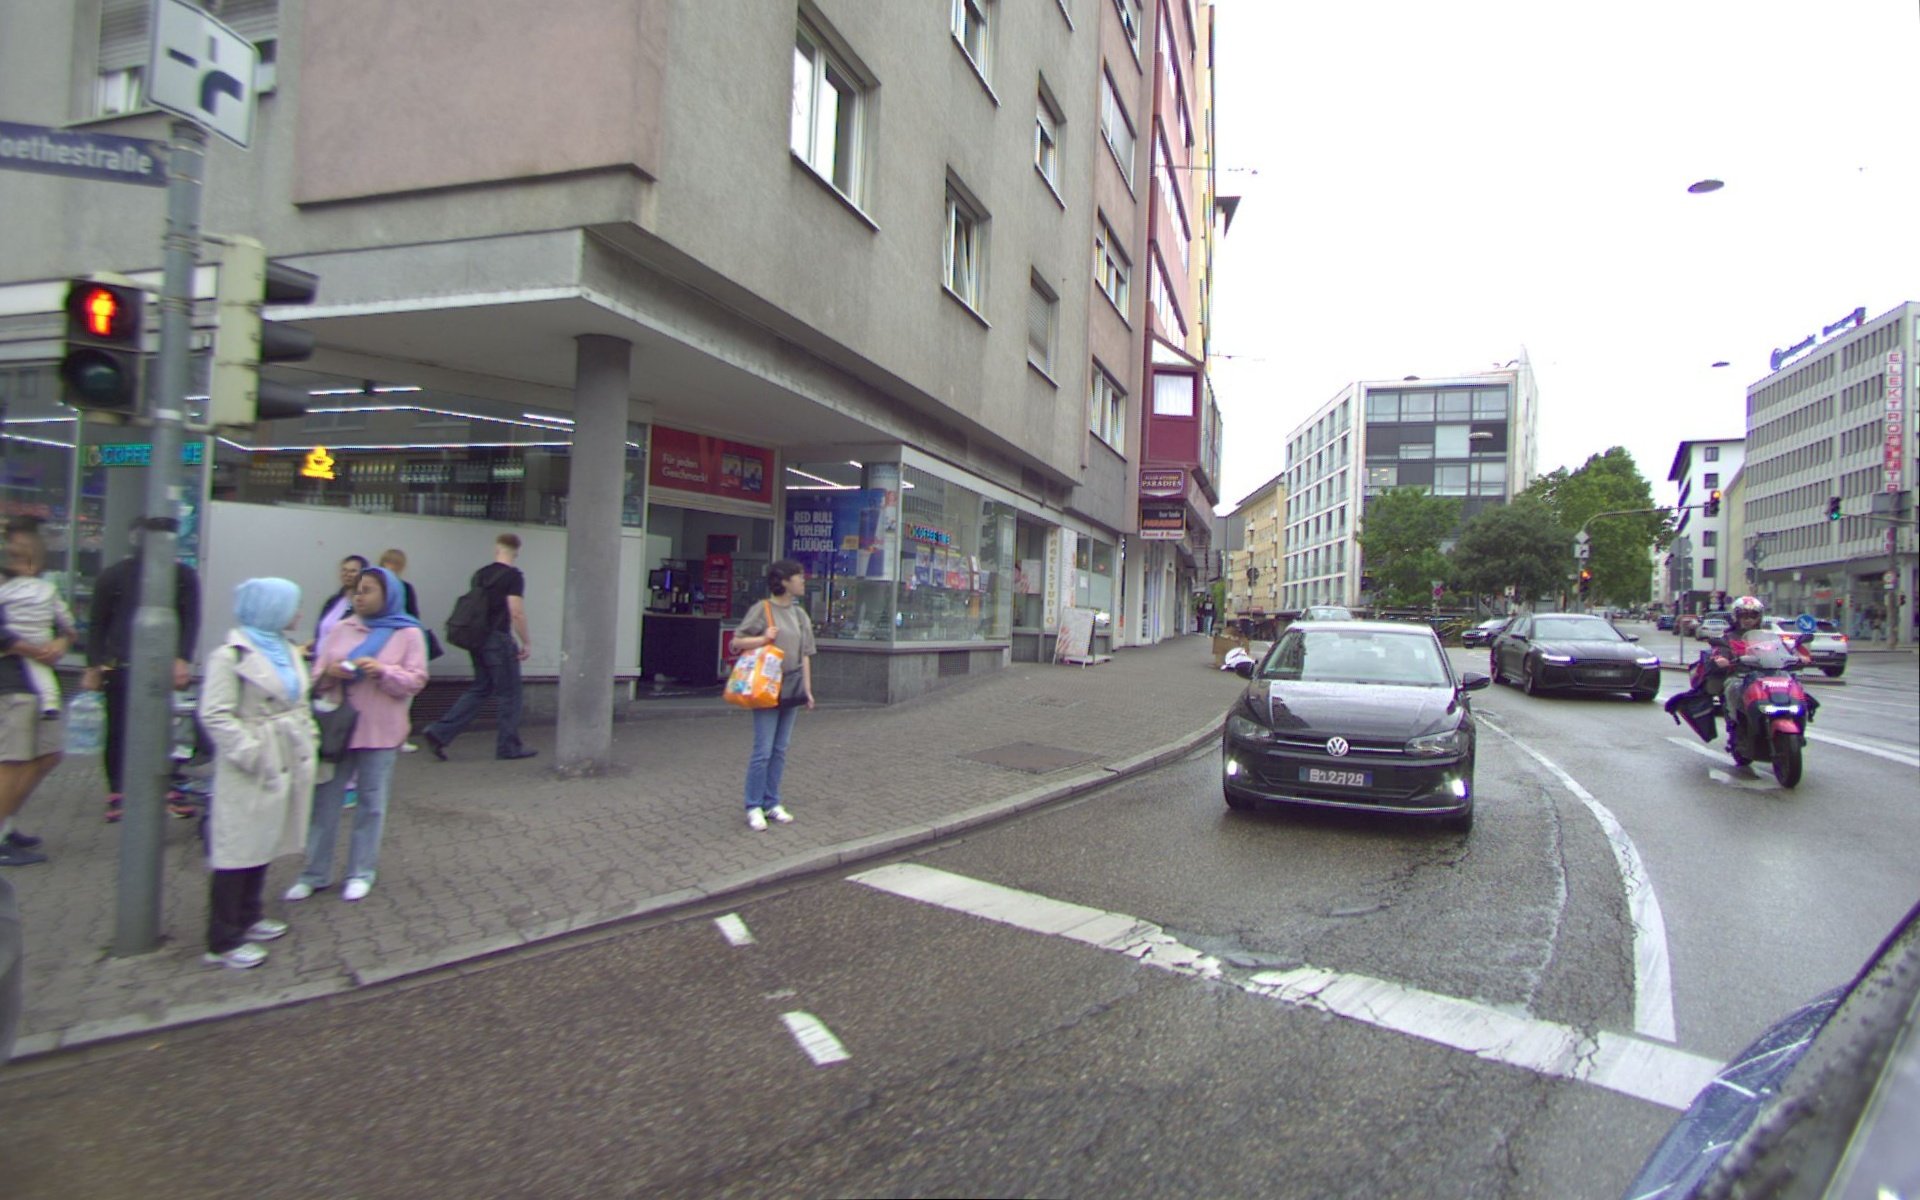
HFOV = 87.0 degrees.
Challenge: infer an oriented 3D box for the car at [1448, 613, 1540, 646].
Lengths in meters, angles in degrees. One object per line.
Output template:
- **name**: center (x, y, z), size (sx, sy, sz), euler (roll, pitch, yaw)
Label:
- **car**: center (27.907, 1.509, 52.966), size (3.916, 1.705, 2.004), euler (0, -1, -15)

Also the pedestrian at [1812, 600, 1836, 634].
- **pedestrian**: center (52.368, 1.043, 61.322), size (0.987, 2.039, 0.936), euler (0, -1, 33)

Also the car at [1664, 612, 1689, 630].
- **car**: center (77.630, 2.281, 109.682), size (2.012, 1.865, 3.995), euler (-2, -2, 33)

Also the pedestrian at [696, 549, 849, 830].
- **pedestrian**: center (-1.236, 0.537, 6.648), size (0.767, 1.713, 0.628), euler (0, 2, -36)

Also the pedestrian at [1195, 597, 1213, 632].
- **pedestrian**: center (12.580, 0.755, 52.176), size (0.614, 1.786, 0.777), euler (-2, -3, 39)

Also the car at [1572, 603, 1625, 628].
- **car**: center (60.305, 1.443, 95.619), size (1.949, 2.294, 3.832), euler (0, -1, -38)

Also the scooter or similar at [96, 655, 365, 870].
- **scooter or similar**: center (-4.251, 0.896, 5.969), size (0.762, 0.998, 1.043), euler (2, 3, 18)

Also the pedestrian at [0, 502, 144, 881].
- **pedestrian**: center (-5.036, 0.423, 5.478), size (0.829, 1.887, 0.653), euler (4, 4, 23)

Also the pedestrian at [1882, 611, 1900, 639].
- **pedestrian**: center (56.195, 1.506, 61.083), size (0.711, 1.643, 0.714), euler (0, -1, 37)

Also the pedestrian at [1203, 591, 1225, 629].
- **pedestrian**: center (12.040, 0.479, 47.955), size (0.750, 1.745, 0.743), euler (-2, -3, 39)

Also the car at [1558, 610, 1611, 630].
- **car**: center (50.341, 1.641, 81.631), size (3.523, 1.579, 1.718), euler (-2, -1, 36)

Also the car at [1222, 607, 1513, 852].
- **car**: center (3.351, 0.811, 8.354), size (1.724, 1.449, 3.849), euler (1, 0, 23)

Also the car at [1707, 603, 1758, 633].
- **car**: center (56.077, 1.314, 73.554), size (2.076, 2.118, 4.570), euler (-1, -2, 26)

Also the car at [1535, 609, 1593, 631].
- **car**: center (45.067, 1.486, 75.495), size (3.527, 1.579, 1.716), euler (-2, -1, 39)

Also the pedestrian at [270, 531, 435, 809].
- **pedestrian**: center (-4.078, 0.417, 6.811), size (0.830, 1.743, 0.612), euler (2, 2, 27)

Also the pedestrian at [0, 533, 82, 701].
- **pedestrian**: center (-4.910, 0.090, 5.300), size (0.219, 0.858, 0.435), euler (-2, -2, 39)

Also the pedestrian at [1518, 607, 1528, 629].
- **pedestrian**: center (47.380, 1.487, 85.120), size (0.589, 1.838, 0.695), euler (-3, -4, 35)

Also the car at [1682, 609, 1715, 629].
- **car**: center (63.543, 1.641, 87.149), size (1.919, 1.694, 4.394), euler (-1, -2, 32)

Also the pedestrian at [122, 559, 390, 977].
- **pedestrian**: center (-3.126, 0.667, 4.550), size (0.534, 1.656, 0.834), euler (4, 4, 18)

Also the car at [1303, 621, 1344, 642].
- **car**: center (26.856, 2.325, 74.885), size (1.941, 1.406, 3.992), euler (3, -2, 6)

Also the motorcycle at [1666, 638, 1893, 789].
- **motorcycle**: center (7.600, 0.978, 9.560), size (1.302, 1.150, 2.162), euler (0, 0, 29)

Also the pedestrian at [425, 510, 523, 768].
- **pedestrian**: center (-3.835, 0.292, 7.968), size (0.653, 1.890, 0.839), euler (0, -2, -28)

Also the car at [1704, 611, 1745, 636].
- **car**: center (52.309, 1.614, 69.311), size (1.989, 1.652, 4.556), euler (-2, -2, 34)

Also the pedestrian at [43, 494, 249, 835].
- **pedestrian**: center (-5.057, 0.353, 6.303), size (0.812, 1.955, 0.725), euler (2, 1, 27)

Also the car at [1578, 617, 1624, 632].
- **car**: center (53.150, 2.012, 83.904), size (3.032, 1.198, 2.023), euler (-2, -1, 38)

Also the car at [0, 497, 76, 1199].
- **car**: center (-4.025, 0.646, 1.212), size (4.219, 1.809, 1.913), euler (1, -2, -34)

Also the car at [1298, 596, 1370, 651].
- **car**: center (11.420, 0.719, 31.122), size (1.847, 1.567, 4.079), euler (-1, -1, 18)

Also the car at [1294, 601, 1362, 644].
- **car**: center (14.716, 0.909, 40.347), size (1.981, 1.604, 4.062), euler (-1, -2, 28)

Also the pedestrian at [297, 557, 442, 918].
- **pedestrian**: center (-2.981, 0.626, 5.147), size (0.584, 1.654, 0.747), euler (-1, 4, -30)

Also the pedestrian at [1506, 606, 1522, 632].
- **pedestrian**: center (39.210, 1.347, 71.673), size (0.776, 1.838, 0.591), euler (-1, -3, 10)

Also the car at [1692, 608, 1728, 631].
- **car**: center (60.183, 1.604, 81.278), size (2.013, 1.772, 4.557), euler (-2, -2, 34)

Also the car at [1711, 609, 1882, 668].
- **car**: center (23.906, 1.089, 29.166), size (1.970, 1.572, 4.408), euler (-1, -2, 13)

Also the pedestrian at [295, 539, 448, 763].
- **pedestrian**: center (-4.702, 0.363, 8.116), size (0.611, 1.656, 0.832), euler (5, 4, 23)

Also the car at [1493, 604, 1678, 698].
- **car**: center (11.488, 0.851, 18.971), size (1.975, 1.510, 4.704), euler (0, -1, 19)

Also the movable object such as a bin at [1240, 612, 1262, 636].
- **movable object such as a bin**: center (12.177, 1.009, 42.329), size (0.660, 0.946, 0.532), euler (5, 0, -36)

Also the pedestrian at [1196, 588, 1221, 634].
- **pedestrian**: center (10.094, 0.467, 41.090), size (0.825, 1.787, 0.615), euler (4, -2, 11)

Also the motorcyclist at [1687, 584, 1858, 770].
- **motorcyclist**: center (7.565, 0.679, 9.501), size (1.084, 1.625, 0.943), euler (-1, -2, 30)
